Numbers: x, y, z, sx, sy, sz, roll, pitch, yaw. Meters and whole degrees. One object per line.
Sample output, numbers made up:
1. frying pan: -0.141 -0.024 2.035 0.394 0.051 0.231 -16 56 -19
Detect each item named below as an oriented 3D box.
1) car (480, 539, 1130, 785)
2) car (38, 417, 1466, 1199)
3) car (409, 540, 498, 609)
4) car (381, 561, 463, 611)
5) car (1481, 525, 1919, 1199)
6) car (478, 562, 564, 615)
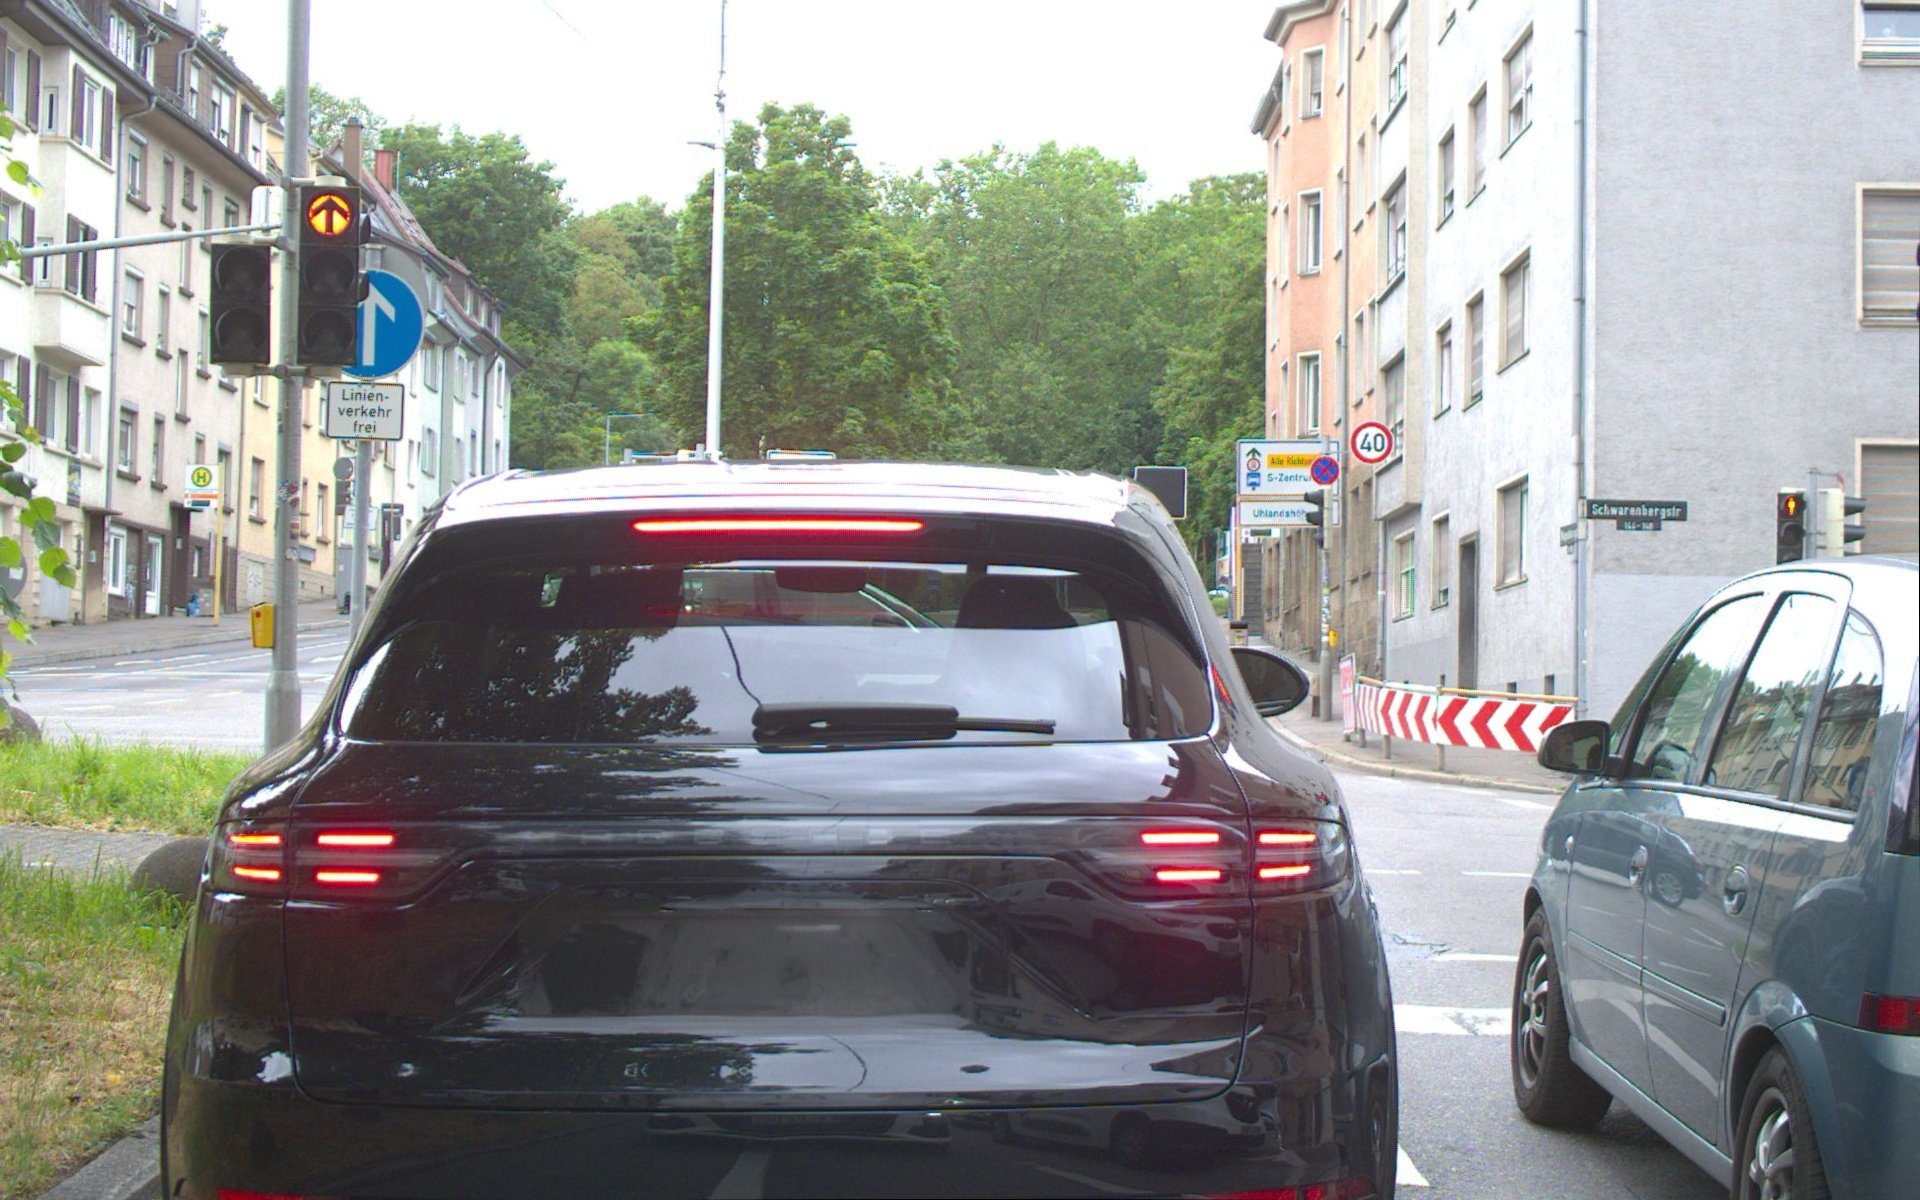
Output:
1. car: -1.016 0.409 23.730 4.238 1.516 1.666 2 0 7
2. car: -0.308 0.565 6.718 1.955 1.669 4.000 0 1 -1
3. car: -15.369 -0.782 104.565 2.016 2.038 4.667 1 1 0
4. car: -15.442 -0.407 98.806 1.739 1.382 3.814 1 1 0
5. car: 2.357 0.697 7.885 1.628 1.592 3.669 4 1 -1
6. car: -12.676 -0.353 99.470 1.844 1.481 3.898 1 1 2
